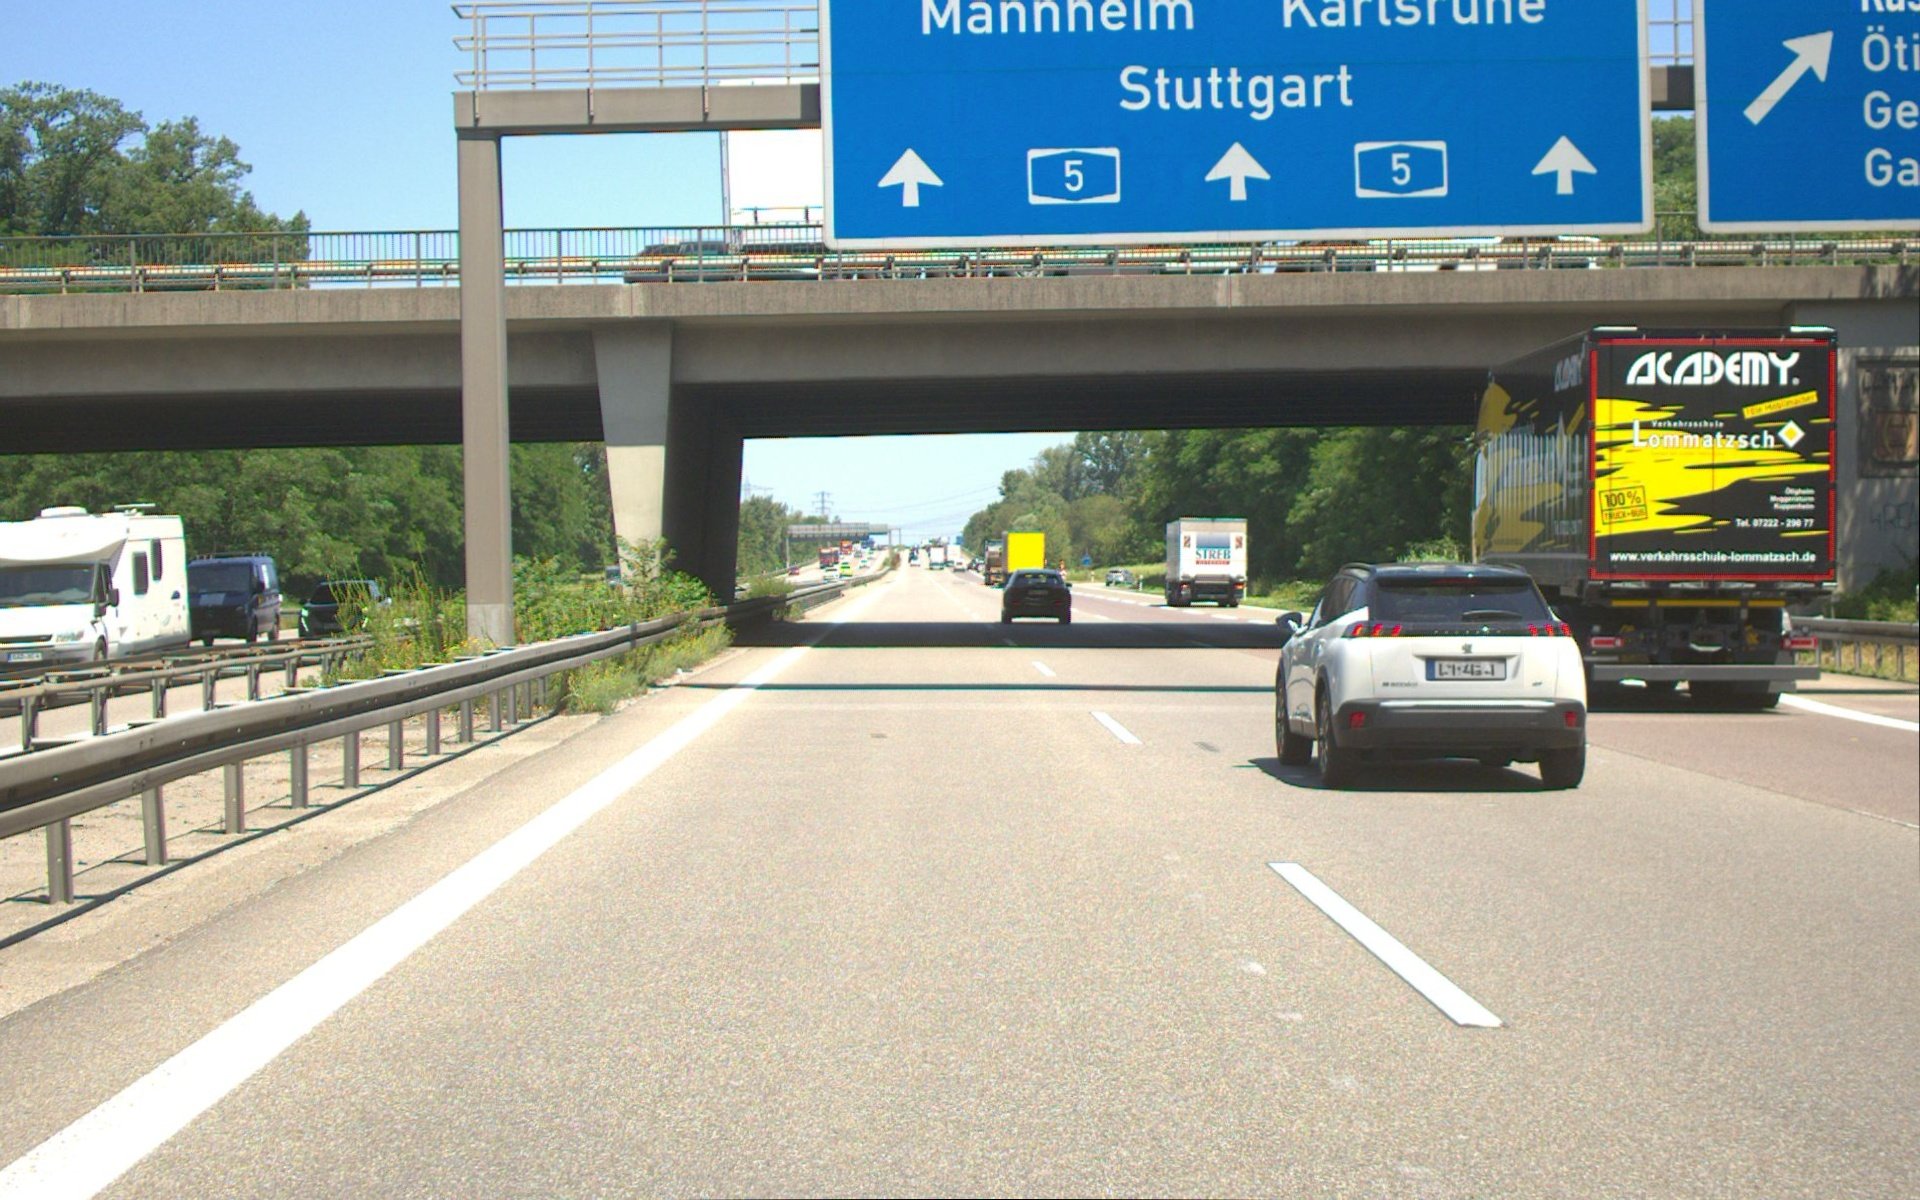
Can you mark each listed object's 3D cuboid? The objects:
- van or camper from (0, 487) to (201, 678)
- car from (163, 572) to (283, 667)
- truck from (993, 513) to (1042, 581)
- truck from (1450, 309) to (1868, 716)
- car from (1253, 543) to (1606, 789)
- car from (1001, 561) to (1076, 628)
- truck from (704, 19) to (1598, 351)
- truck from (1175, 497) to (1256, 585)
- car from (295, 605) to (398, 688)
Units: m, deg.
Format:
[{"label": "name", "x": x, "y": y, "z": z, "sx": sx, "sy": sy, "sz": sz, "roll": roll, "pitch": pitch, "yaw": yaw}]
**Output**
[{"label": "van or camper", "x": -14.442, "y": -0.291, "z": 56.021, "sx": 2.592, "sy": 2.897, "sz": 7.234, "roll": 1, "pitch": 0, "yaw": -1}, {"label": "car", "x": -19.341, "y": 0.470, "z": 90.478, "sx": 2.089, "sy": 2.391, "sz": 5.735, "roll": 1, "pitch": 0, "yaw": -2}, {"label": "truck", "x": 4.195, "y": -3.830, "z": 253.139, "sx": 3.377, "sy": 4.864, "sz": 15.086, "roll": 1, "pitch": 0, "yaw": 0}, {"label": "truck", "x": 7.806, "y": -0.913, "z": 40.073, "sx": 2.975, "sy": 4.023, "sz": 10.980, "roll": 1, "pitch": 0, "yaw": 2}, {"label": "car", "x": 3.271, "y": 0.415, "z": 24.864, "sx": 1.827, "sy": 1.602, "sz": 4.809, "roll": 0, "pitch": 0, "yaw": -1}, {"label": "car", "x": 2.063, "y": -0.153, "z": 91.096, "sx": 1.827, "sy": 1.700, "sz": 4.000, "roll": 1, "pitch": 0, "yaw": -1}, {"label": "truck", "x": 3.479, "y": -7.709, "z": 64.751, "sx": 16.458, "sy": 5.546, "sz": 3.175, "roll": 1, "pitch": 0, "yaw": -5}, {"label": "truck", "x": 10.046, "y": -2.279, "z": 135.948, "sx": 3.028, "sy": 3.308, "sz": 10.769, "roll": 1, "pitch": 0, "yaw": 4}, {"label": "car", "x": -14.160, "y": 1.047, "z": 79.554, "sx": 1.690, "sy": 1.809, "sz": 4.714, "roll": 1, "pitch": 0, "yaw": -2}]
